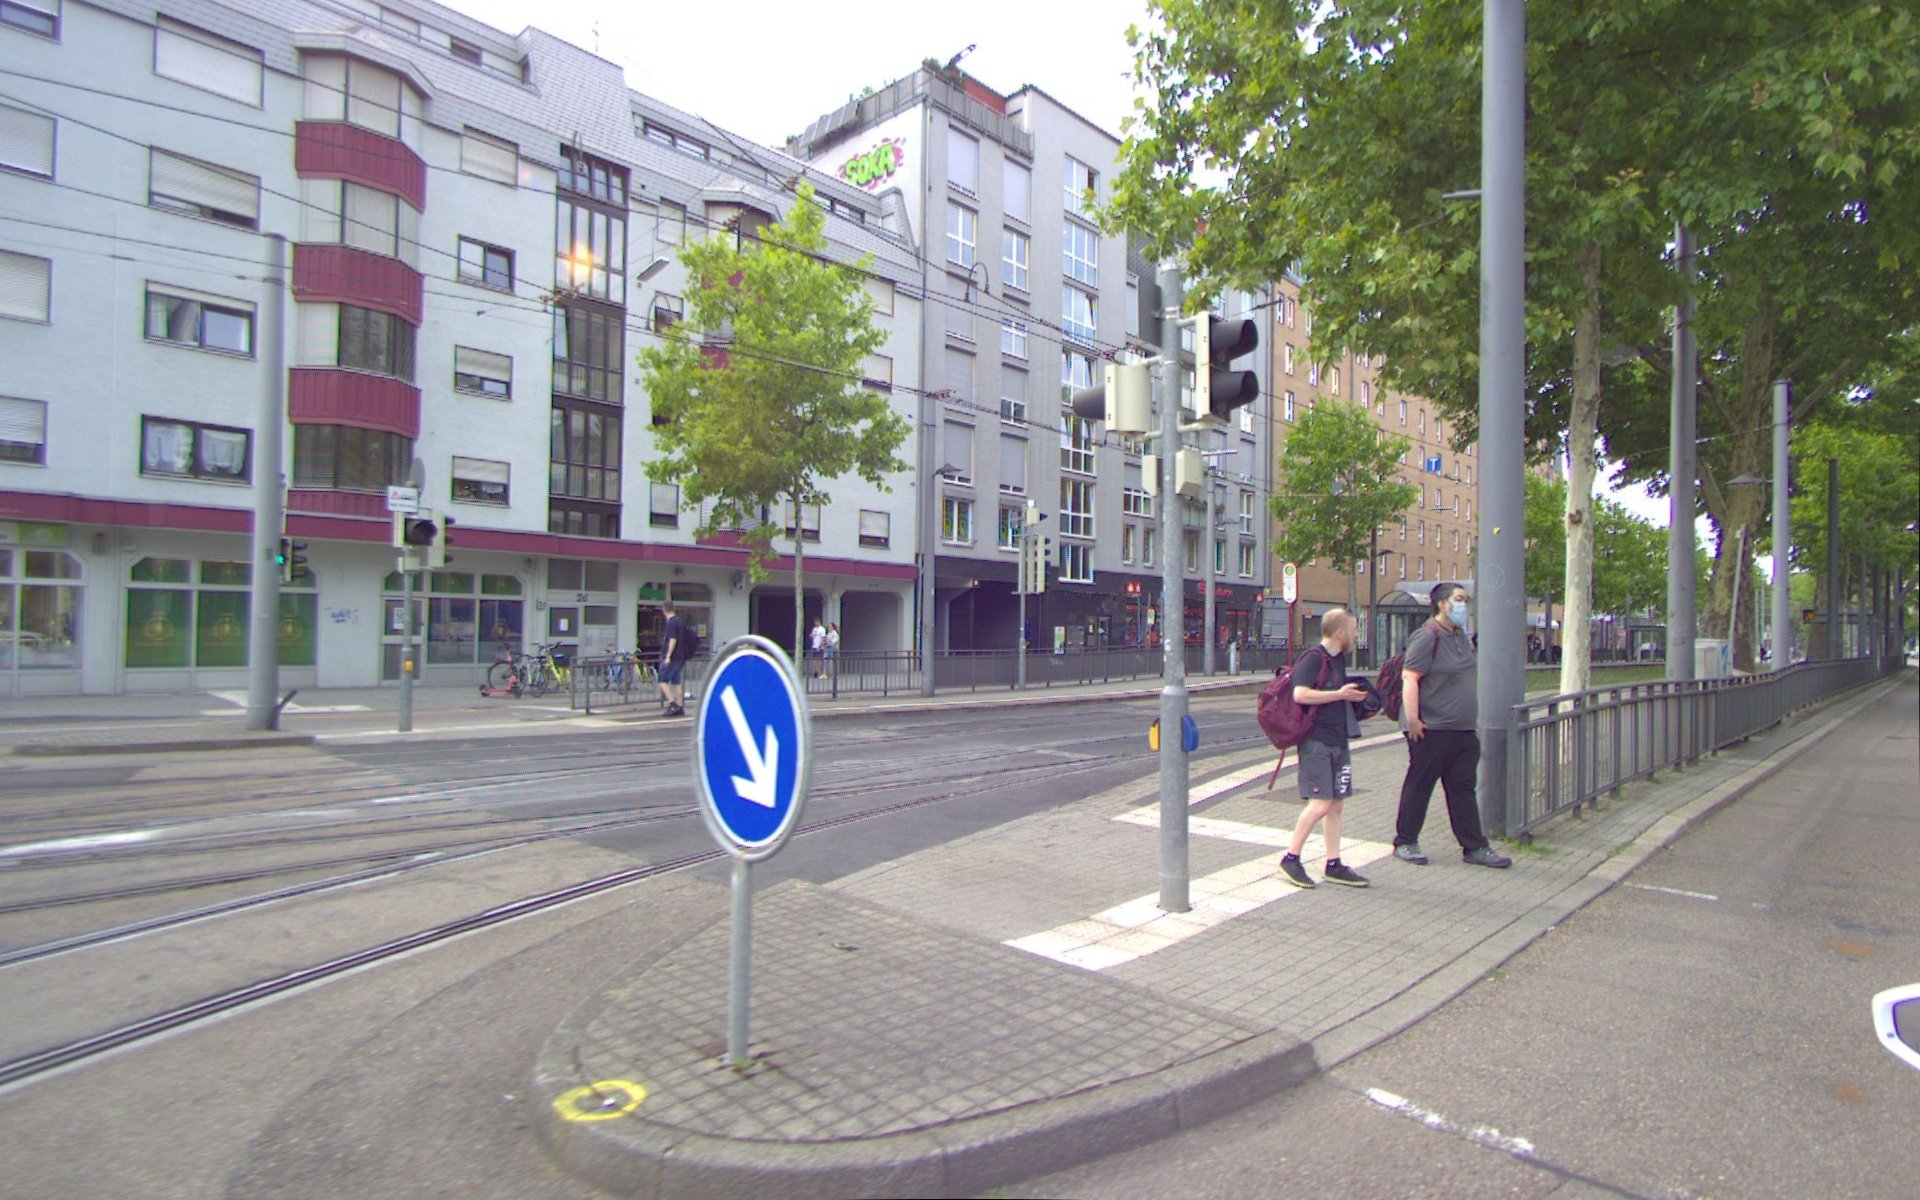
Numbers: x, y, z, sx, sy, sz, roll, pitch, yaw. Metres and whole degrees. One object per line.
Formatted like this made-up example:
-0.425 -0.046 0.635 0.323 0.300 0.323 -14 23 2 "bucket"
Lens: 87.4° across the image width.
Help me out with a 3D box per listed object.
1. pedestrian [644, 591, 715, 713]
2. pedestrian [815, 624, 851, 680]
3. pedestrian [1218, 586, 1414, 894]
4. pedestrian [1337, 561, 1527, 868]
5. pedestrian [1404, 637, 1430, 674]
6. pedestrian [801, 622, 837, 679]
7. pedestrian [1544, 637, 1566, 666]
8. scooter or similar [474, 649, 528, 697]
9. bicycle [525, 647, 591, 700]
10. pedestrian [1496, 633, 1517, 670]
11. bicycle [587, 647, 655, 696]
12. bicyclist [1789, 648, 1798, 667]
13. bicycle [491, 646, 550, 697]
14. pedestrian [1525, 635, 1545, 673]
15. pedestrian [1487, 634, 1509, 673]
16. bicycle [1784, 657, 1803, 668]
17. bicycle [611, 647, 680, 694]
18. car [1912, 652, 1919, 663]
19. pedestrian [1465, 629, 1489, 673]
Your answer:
-4.545 0.846 16.343 0.985 1.924 0.804 1 -2 -10 "pedestrian"
-4.042 1.645 31.985 0.890 1.757 0.751 2 -2 -41 "pedestrian"
2.172 0.792 6.121 0.930 1.693 0.757 2 -2 -39 "pedestrian"
3.153 0.724 6.737 0.831 1.880 0.838 2 -2 -30 "pedestrian"
19.642 2.365 43.156 0.805 1.557 0.781 -1 -3 42 "pedestrian"
-4.535 1.622 32.339 0.890 1.798 0.751 2 -2 -41 "pedestrian"
34.596 2.997 58.409 0.983 1.621 0.846 -1 -3 42 "pedestrian"
-10.336 1.636 22.624 1.152 1.001 0.351 3 -1 22 "scooter or similar"
-9.452 1.700 23.559 0.624 1.032 2.153 3 0 -44 "bicycle"
28.479 2.682 52.372 0.805 1.912 0.781 -1 -2 42 "pedestrian"
-8.344 1.735 24.700 1.855 1.032 0.625 3 0 38 "bicycle"
79.409 5.457 95.702 0.509 1.753 0.664 3 -3 -45 "bicyclist"
-10.212 1.648 23.300 1.704 1.032 0.477 3 0 38 "bicycle"
31.081 2.910 54.264 0.806 2.019 0.781 -1 -2 42 "pedestrian"
26.899 2.651 50.239 0.805 1.912 0.781 -1 -2 42 "pedestrian"
79.392 5.948 95.692 0.509 0.943 1.392 3 -3 -44 "bicycle"
-7.928 1.751 25.273 1.855 1.032 0.707 3 0 38 "bicycle"
136.450 8.131 142.596 4.148 1.541 1.817 3 -3 -44 "car"
23.033 2.267 44.749 0.805 1.912 0.781 -1 -2 42 "pedestrian"
